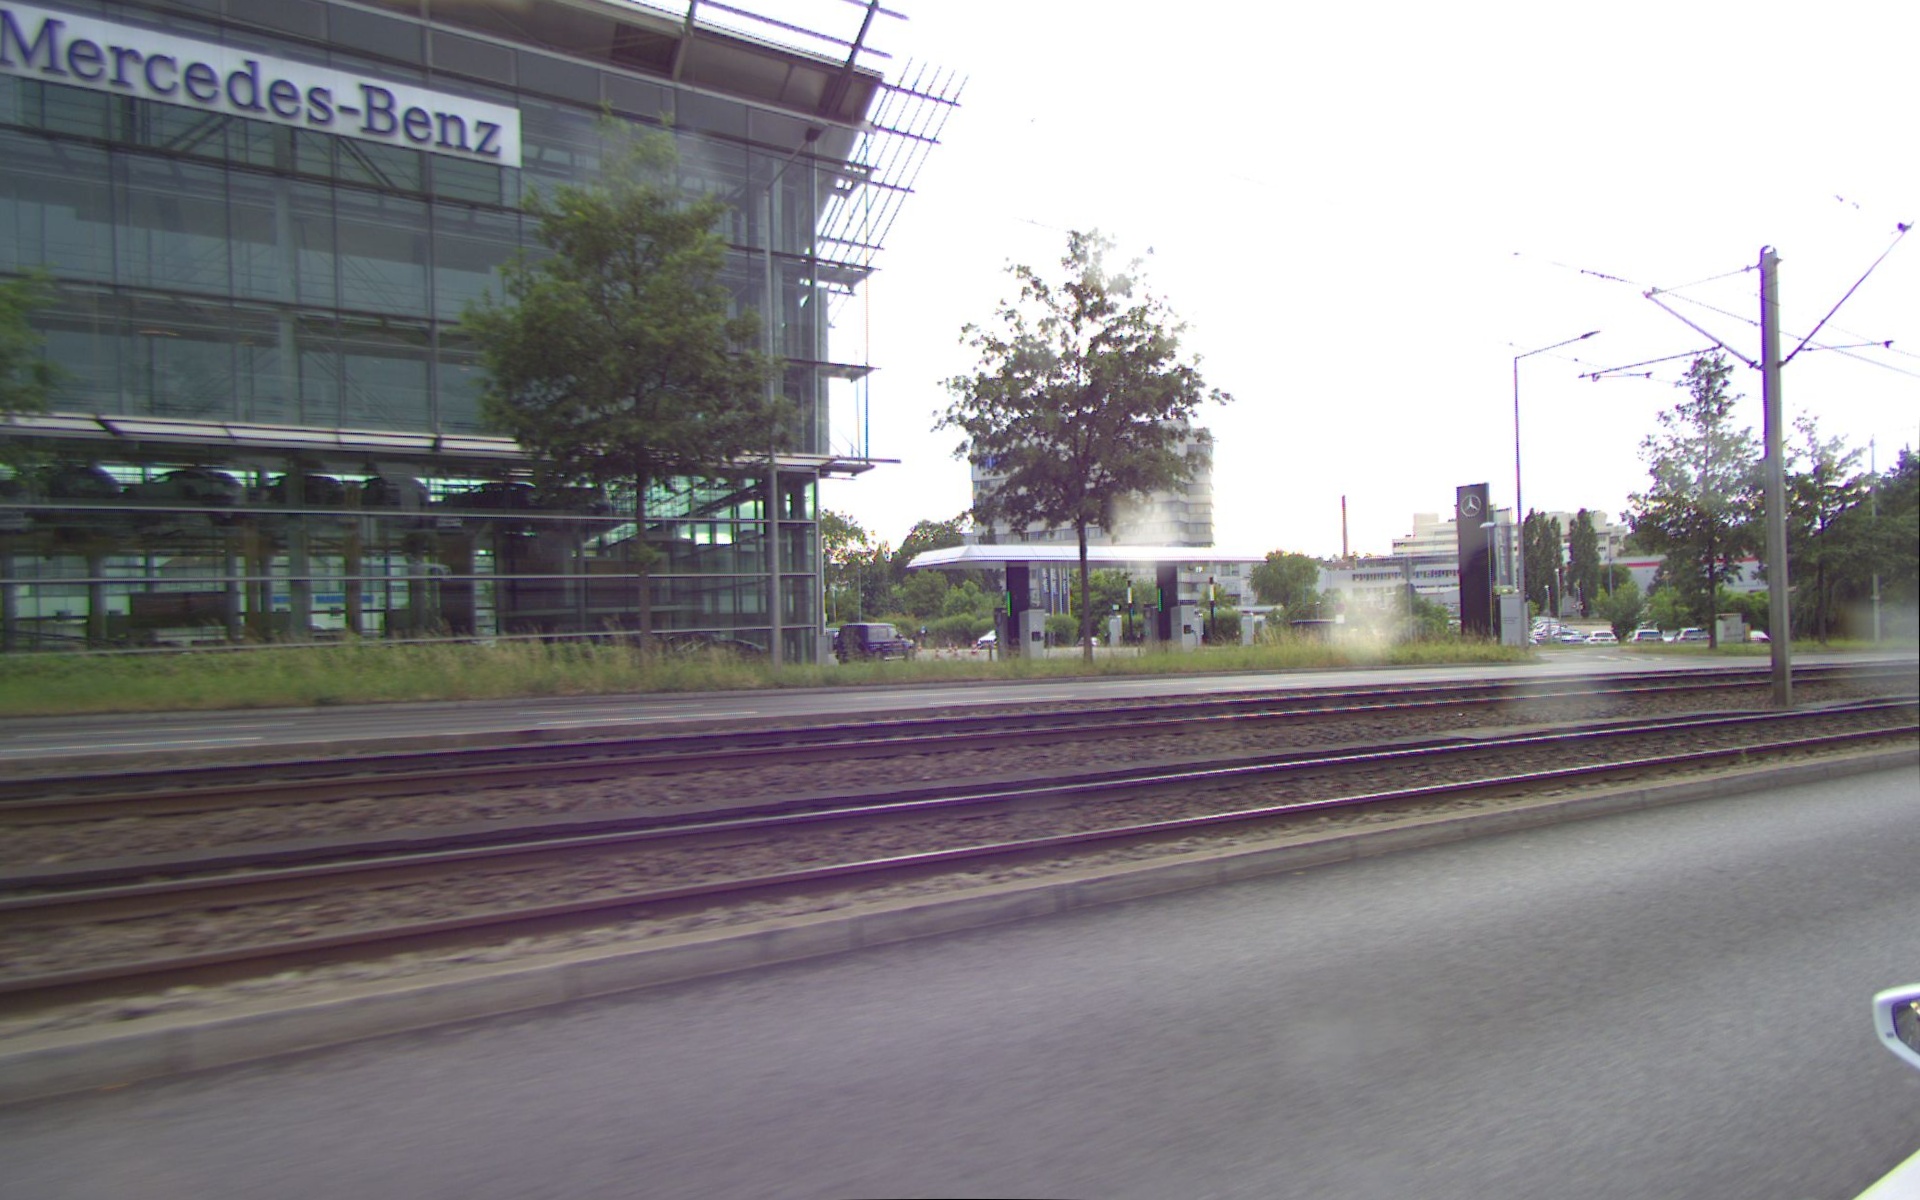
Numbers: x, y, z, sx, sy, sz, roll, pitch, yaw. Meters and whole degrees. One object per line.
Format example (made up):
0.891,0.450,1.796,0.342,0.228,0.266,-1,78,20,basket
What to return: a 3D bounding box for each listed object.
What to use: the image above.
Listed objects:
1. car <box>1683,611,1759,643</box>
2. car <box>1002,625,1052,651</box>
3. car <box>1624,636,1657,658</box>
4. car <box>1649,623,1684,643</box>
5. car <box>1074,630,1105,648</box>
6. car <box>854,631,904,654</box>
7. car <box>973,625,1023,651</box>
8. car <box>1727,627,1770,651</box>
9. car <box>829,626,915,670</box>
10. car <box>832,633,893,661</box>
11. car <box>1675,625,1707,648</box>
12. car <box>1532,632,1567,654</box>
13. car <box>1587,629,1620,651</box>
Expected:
44.121,1.558,58.233,3.948,1.672,1.987,2,-1,-26,car
4.949,2.747,73.378,1.965,1.751,3.991,2,-1,31,car
49.714,3.425,73.306,1.730,1.514,3.984,2,-1,38,car
57.502,2.674,81.802,1.964,1.530,3.992,2,-1,30,car
12.130,3.655,93.978,1.697,1.618,3.202,2,-1,31,car
-6.450,3.388,80.453,1.965,1.751,3.991,2,-1,31,car
2.838,2.826,74.833,1.965,1.751,3.991,2,-1,31,car
54.654,2.691,69.671,1.966,1.530,3.989,2,-1,34,car
-3.975,2.157,45.920,1.862,1.875,3.991,2,-1,32,car
-6.471,3.112,66.640,3.691,1.732,1.774,2,-1,-20,car
52.191,2.583,71.708,1.730,1.514,3.984,2,-1,38,car
43.474,3.153,74.042,1.966,1.530,3.989,2,-1,34,car
47.995,2.975,74.918,1.730,1.514,3.984,2,-1,38,car
